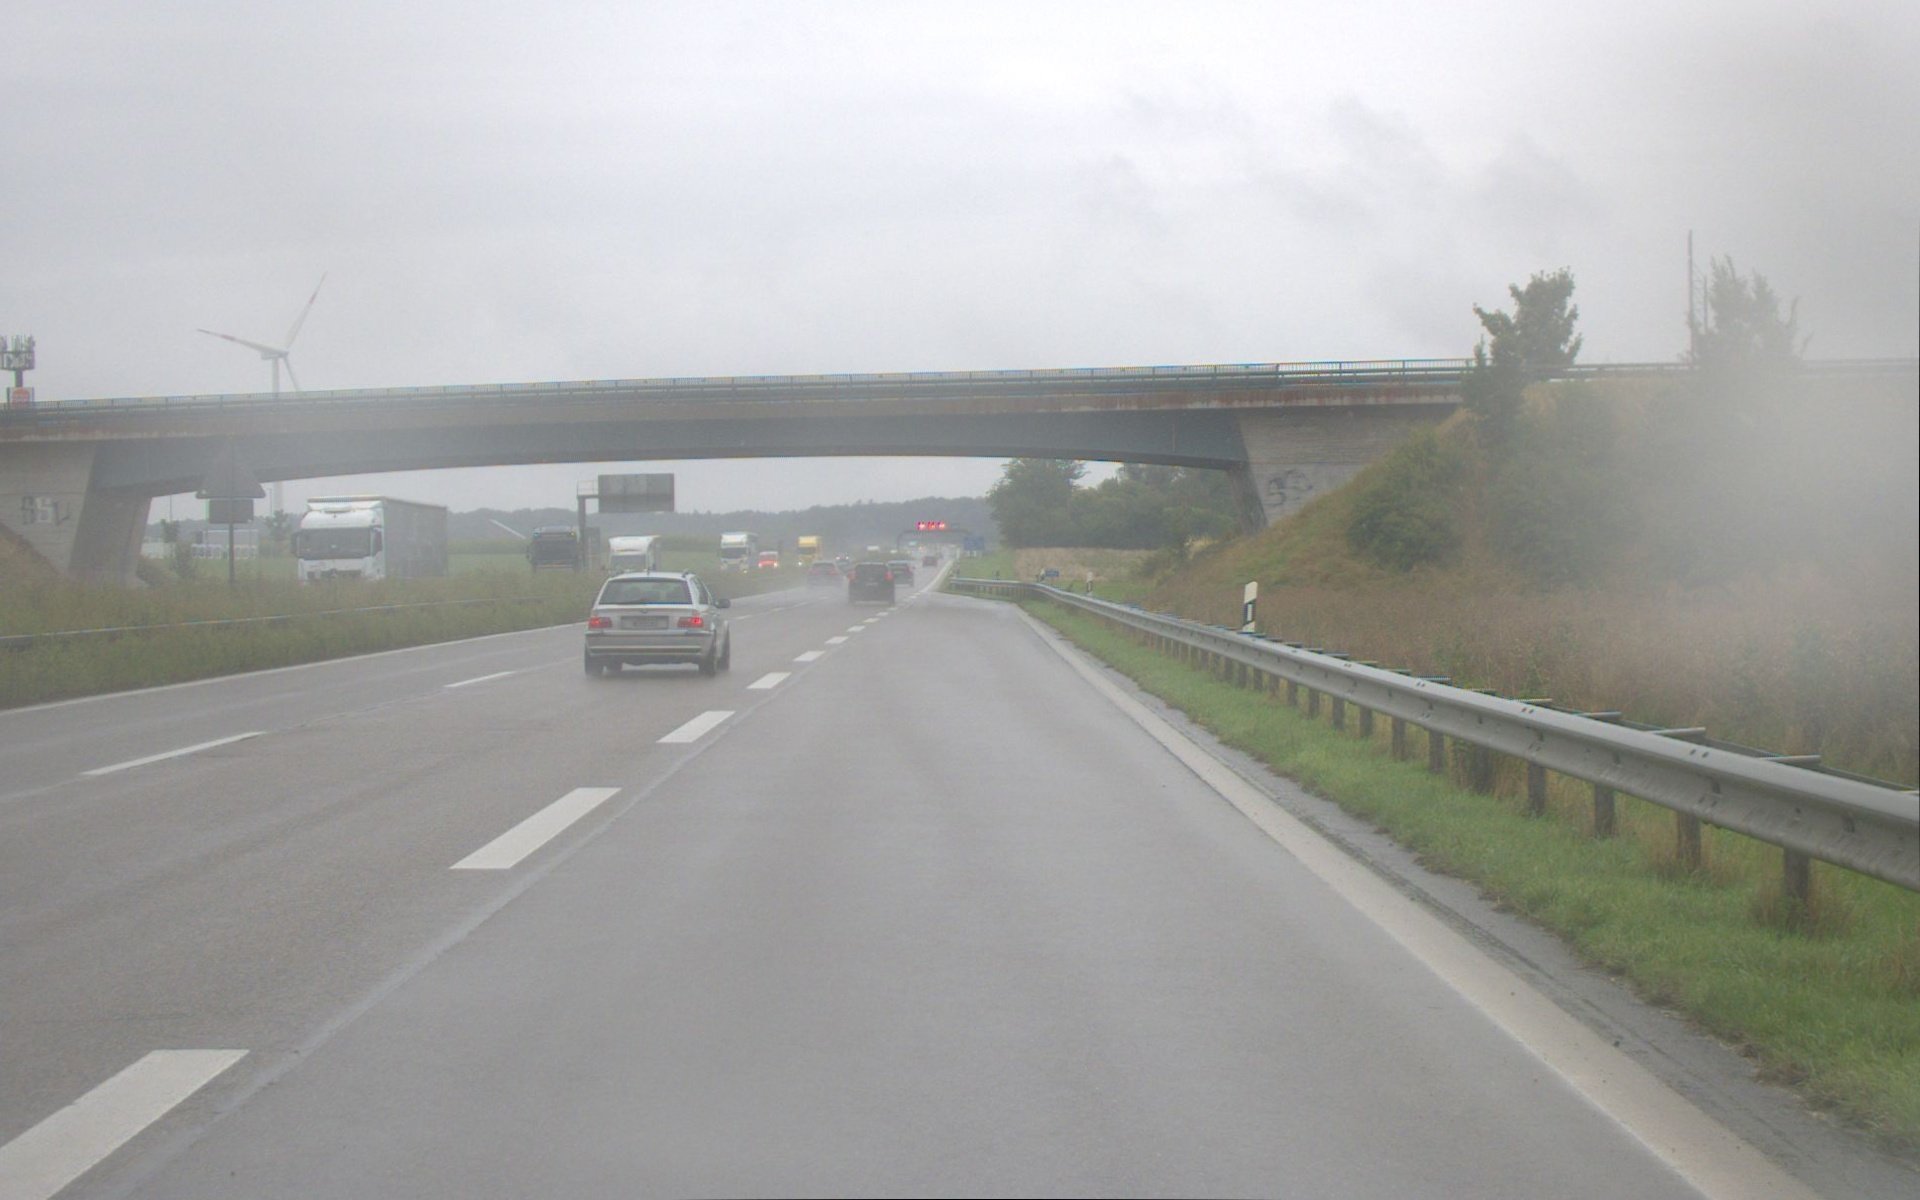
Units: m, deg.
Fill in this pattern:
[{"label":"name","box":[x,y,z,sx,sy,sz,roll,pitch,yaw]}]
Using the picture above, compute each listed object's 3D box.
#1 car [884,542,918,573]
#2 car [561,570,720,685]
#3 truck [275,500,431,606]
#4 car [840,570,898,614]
[{"label":"car","box":[-3.580,-2.624,210.088,1.993,1.691,4.001,-3,3,-1]},{"label":"car","box":[-4.353,0.344,47.412,1.874,1.483,4.796,-1,0,-2]},{"label":"truck","box":[-20.405,-1.582,116.304,2.992,3.364,11.050,-1,1,2]},{"label":"car","box":[-3.459,-0.288,131.419,2.145,1.630,4.595,1,0,-1]}]
